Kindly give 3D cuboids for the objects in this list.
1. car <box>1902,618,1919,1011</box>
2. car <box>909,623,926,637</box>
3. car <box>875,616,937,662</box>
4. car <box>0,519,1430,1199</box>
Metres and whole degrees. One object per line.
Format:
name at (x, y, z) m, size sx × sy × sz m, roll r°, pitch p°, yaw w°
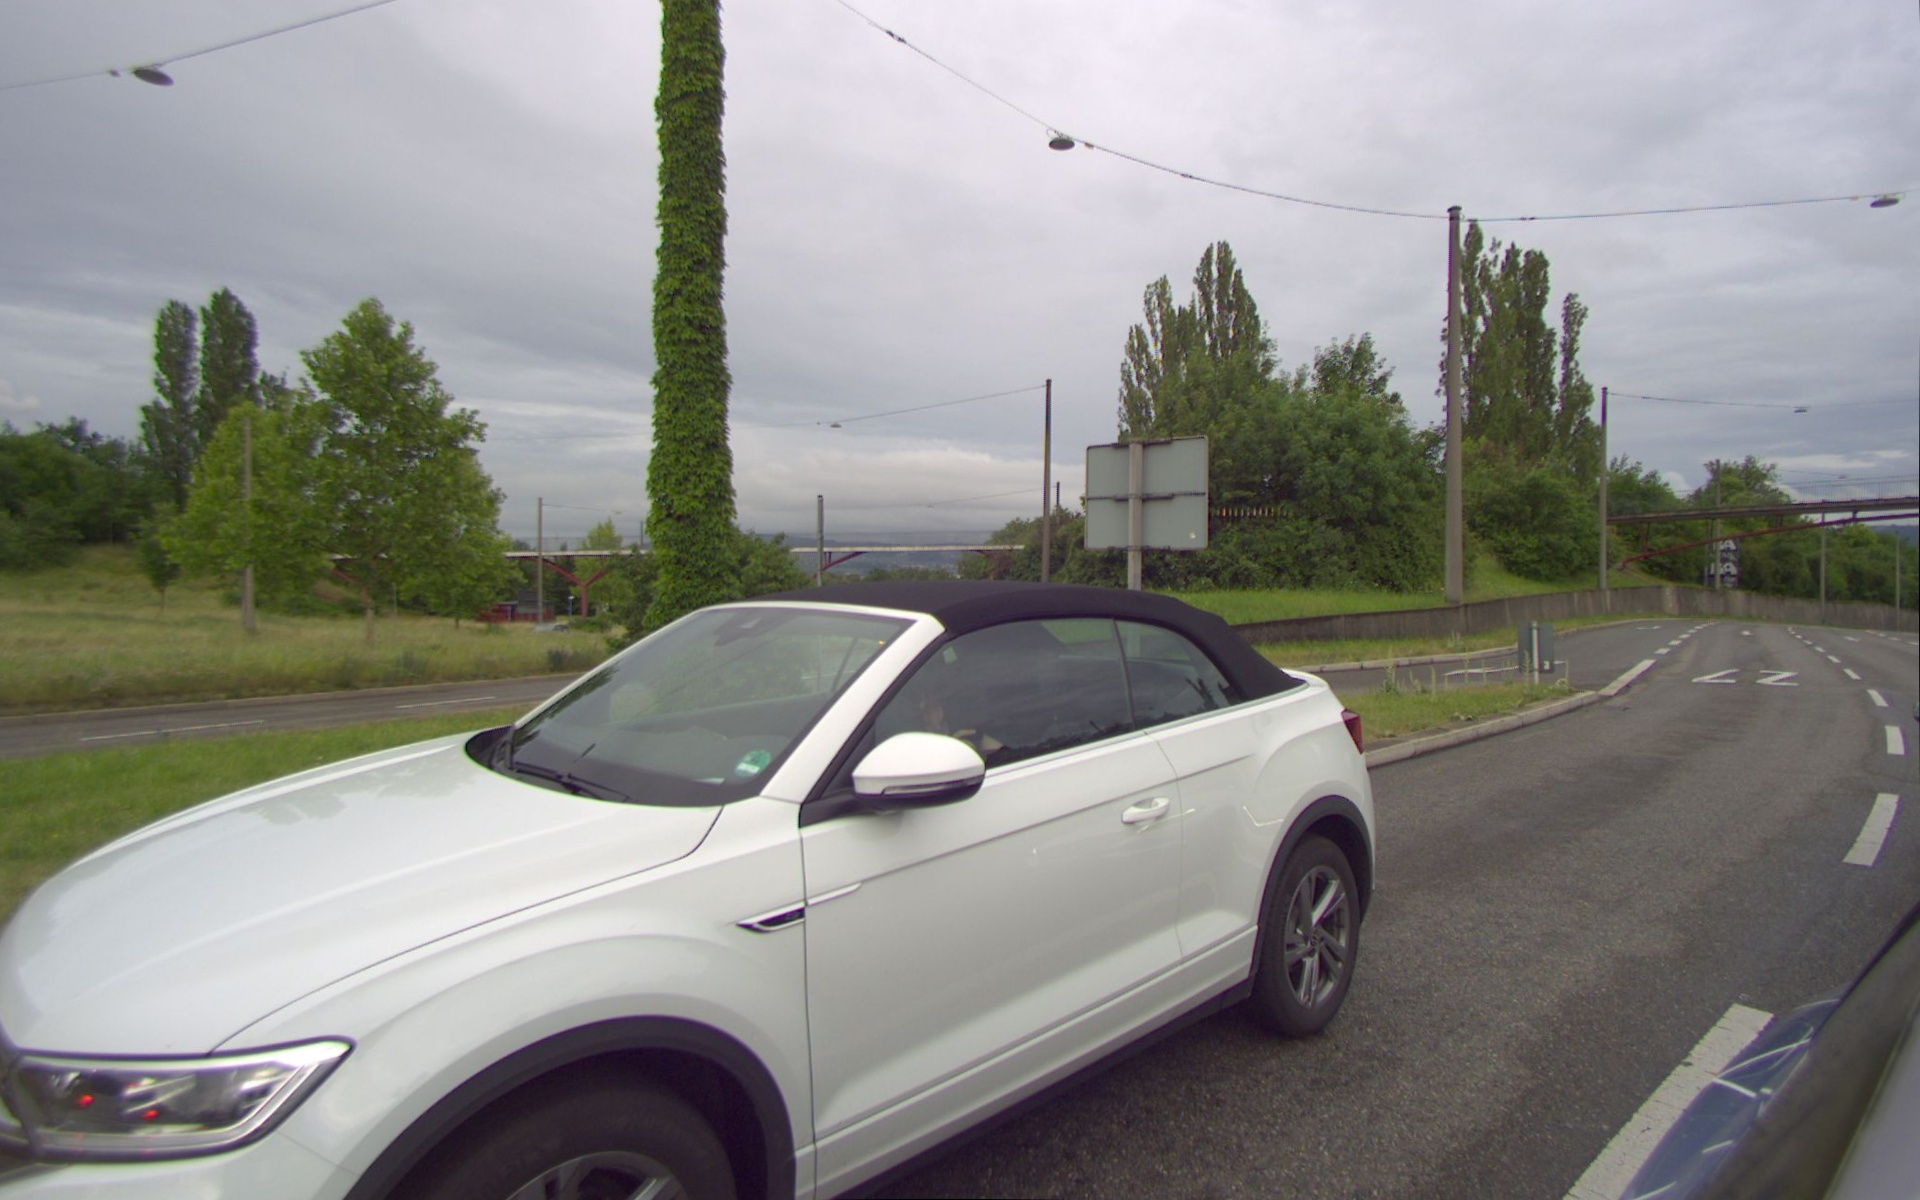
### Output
car at (5.522, 0.750, 4.217) m, size 4.062 × 1.385 × 1.894 m, roll -1°, pitch 1°, yaw -40°
car at (-4.656, 3.290, 110.992) m, size 1.654 × 1.438 × 4.080 m, roll -1°, pitch -1°, yaw 1°
car at (-2.338, 1.716, 44.950) m, size 1.965 × 1.872 × 4.813 m, roll -1°, pitch -2°, yaw 7°
car at (-0.243, 0.660, 3.109) m, size 4.160 × 1.572 × 1.714 m, roll -1°, pitch 1°, yaw -44°
